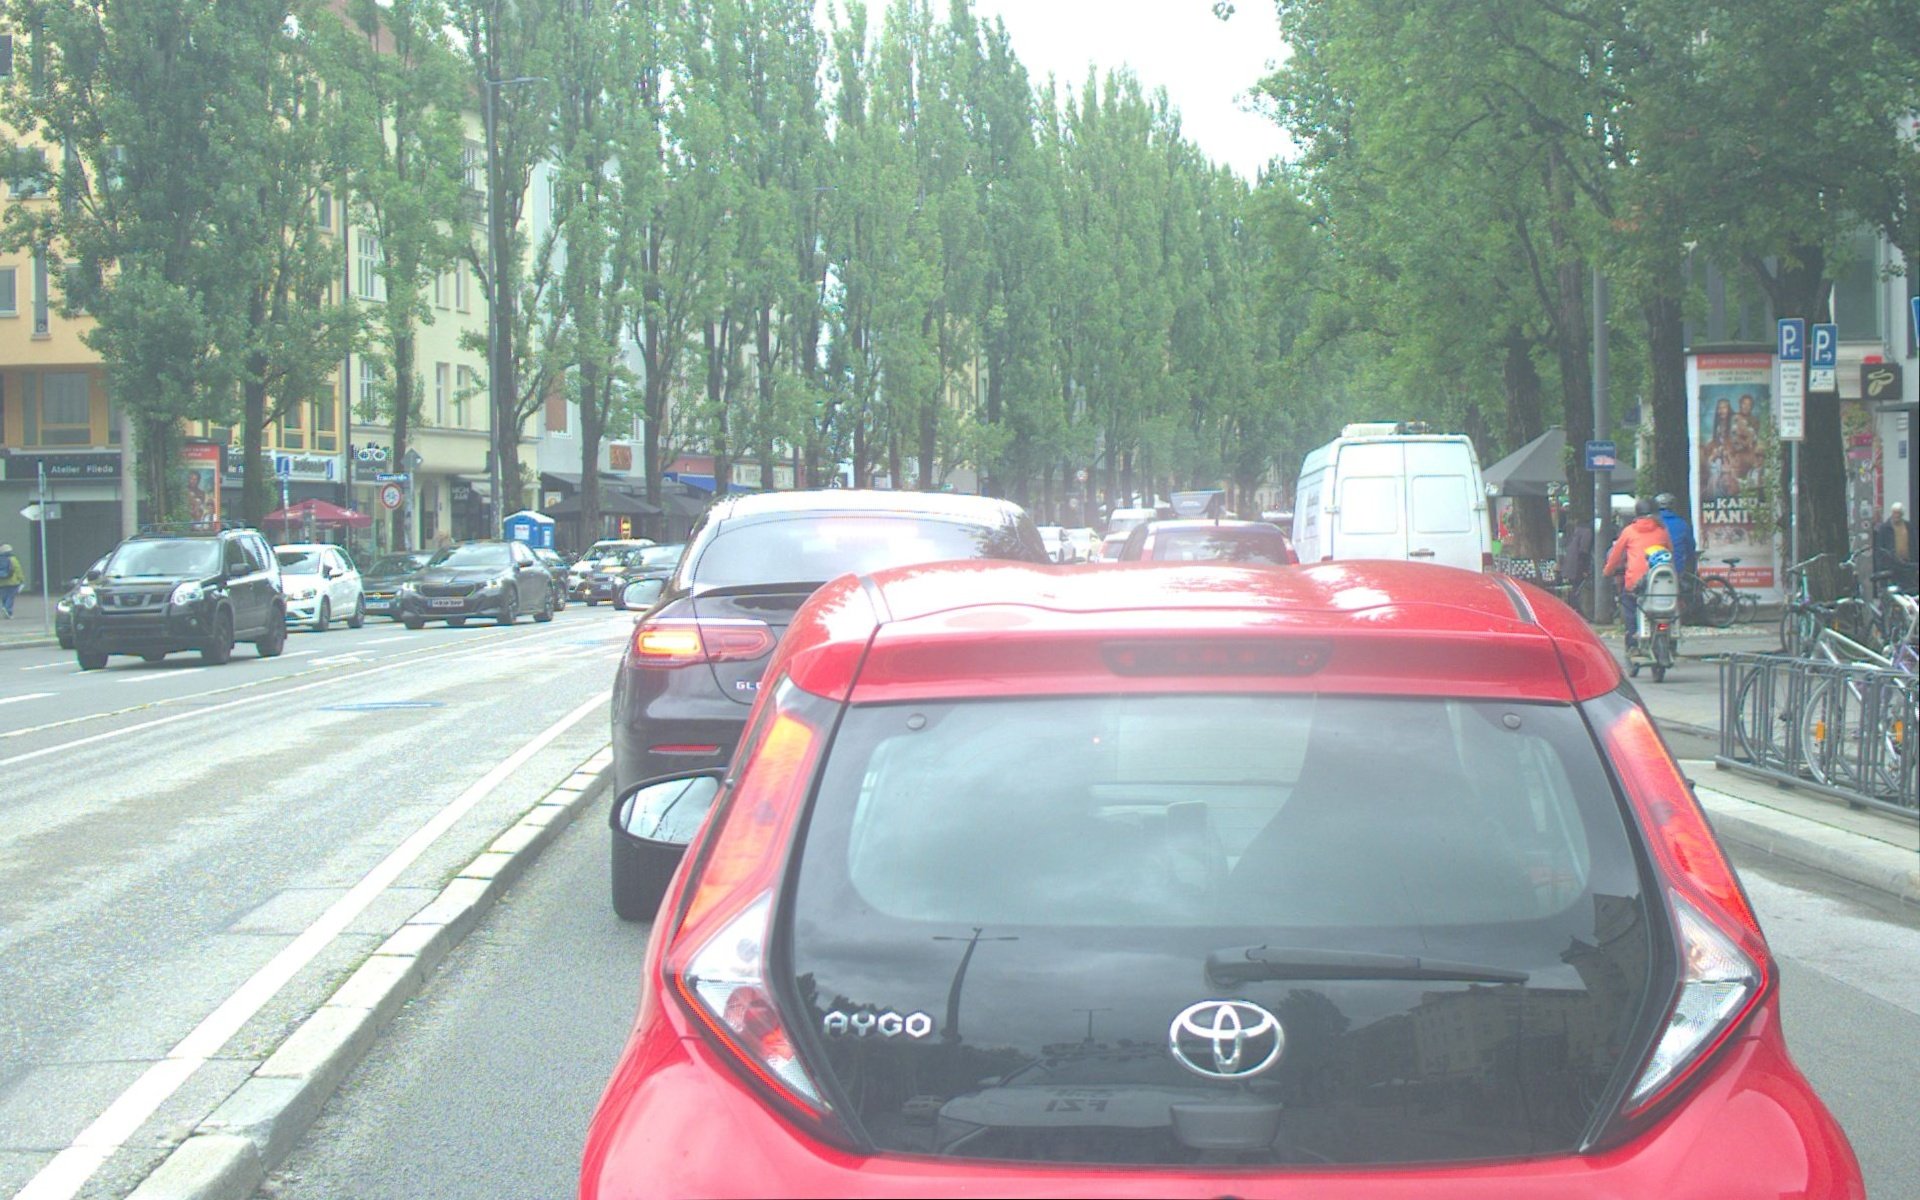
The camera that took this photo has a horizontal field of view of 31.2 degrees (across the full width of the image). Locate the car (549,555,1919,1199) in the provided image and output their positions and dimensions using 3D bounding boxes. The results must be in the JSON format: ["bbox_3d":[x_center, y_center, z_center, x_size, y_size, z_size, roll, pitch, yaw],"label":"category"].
[{"bbox_3d":[0.320,0.676,5.487,1.605,1.456,3.130,0,1,0],"label":"car"}]

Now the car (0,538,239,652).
[{"bbox_3d":[-12.883,-0.105,52.909,1.994,1.604,4.531,-1,1,9],"label":"car"}]

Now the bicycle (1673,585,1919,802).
[{"bbox_3d":[4.857,0.495,18.674,1.836,1.132,0.585,0,2,35],"label":"bicycle"}]

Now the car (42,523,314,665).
[{"bbox_3d":[-9.748,-0.120,43.282,1.994,1.686,4.921,0,1,4],"label":"car"}]

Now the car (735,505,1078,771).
[{"bbox_3d":[-0.244,0.198,21.299,1.919,1.481,3.917,0,0,2],"label":"car"}]

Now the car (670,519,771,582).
[{"bbox_3d":[-6.598,-1.394,95.301,1.994,1.686,4.920,-1,1,6],"label":"car"}]

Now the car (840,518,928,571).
[{"bbox_3d":[-2.511,-1.854,114.641,1.994,1.686,4.412,-1,1,11],"label":"car"}]

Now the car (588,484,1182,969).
[{"bbox_3d":[-0.322,0.390,13.784,1.993,1.612,4.001,2,1,-2],"label":"car"}]

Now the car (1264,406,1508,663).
[{"bbox_3d":[4.757,-0.750,39.054,2.107,2.709,4.804,-1,1,0],"label":"car"}]

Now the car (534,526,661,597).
[{"bbox_3d":[-8.983,-0.980,85.521,1.994,1.686,4.920,-1,1,8],"label":"car"}]

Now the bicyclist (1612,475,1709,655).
[{"bbox_3d":[7.385,-0.374,36.295,0.762,1.863,1.133,-1,1,-1],"label":"bicyclist"}]

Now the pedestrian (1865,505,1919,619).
[{"bbox_3d":[13.264,-0.539,48.557,0.764,1.588,0.676,-1,1,-1],"label":"pedestrian"}]

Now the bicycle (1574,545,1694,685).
[{"bbox_3d":[6.437,0.118,32.933,0.614,1.260,2.520,-1,1,-1],"label":"bicycle"}]

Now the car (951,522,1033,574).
[{"bbox_3d":[1.132,-1.800,117.819,1.994,1.686,4.412,-1,1,11],"label":"car"}]

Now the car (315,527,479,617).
[{"bbox_3d":[-11.144,-0.589,68.347,1.994,1.686,4.920,-1,1,6],"label":"car"}]

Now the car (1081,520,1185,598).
[{"bbox_3d":[3.277,-0.795,65.495,1.699,1.421,3.497,-1,1,-1],"label":"car"}]

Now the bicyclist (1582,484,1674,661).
[{"bbox_3d":[6.405,-0.276,33.002,0.614,1.652,1.251,-1,1,-1],"label":"bicyclist"}]

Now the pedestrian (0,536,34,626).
[{"bbox_3d":[-21.137,-0.436,76.794,0.687,1.990,0.765,-1,1,-1],"label":"pedestrian"}]

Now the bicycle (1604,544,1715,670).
[{"bbox_3d":[7.392,0.048,36.432,0.614,1.260,2.520,-1,1,-1],"label":"bicycle"}]

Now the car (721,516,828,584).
[{"bbox_3d":[-4.736,-1.311,88.343,1.994,1.686,4.920,-1,1,6],"label":"car"}]

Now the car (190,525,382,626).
[{"bbox_3d":[-11.910,-0.468,61.117,1.994,1.686,4.920,-1,1,6],"label":"car"}]

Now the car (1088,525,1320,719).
[{"bbox_3d":[2.100,0.147,30.425,1.702,1.584,3.556,-1,1,-1],"label":"car"}]

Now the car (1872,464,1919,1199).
[{"bbox_3d":[2.794,0.613,4.476,1.771,1.641,4.709,0,1,-2],"label":"car"}]

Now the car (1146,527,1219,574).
[{"bbox_3d":[7.009,-1.566,107.965,1.773,1.434,3.936,0,1,11],"label":"car"}]

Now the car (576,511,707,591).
[{"bbox_3d":[-7.029,-1.110,76.329,1.994,1.686,4.920,-1,1,6],"label":"car"}]

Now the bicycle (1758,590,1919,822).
[{"bbox_3d":[4.982,0.527,17.209,1.836,1.132,0.585,0,2,35],"label":"bicycle"}]

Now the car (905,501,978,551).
[{"bbox_3d":[-0.709,-2.938,135.682,1.994,1.927,4.412,0,1,11],"label":"car"}]

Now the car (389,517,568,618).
[{"bbox_3d":[-8.433,-0.604,60.645,1.994,1.686,4.920,-1,1,6],"label":"car"}]

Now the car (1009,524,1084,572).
[{"bbox_3d":[3.181,-1.903,125.438,1.994,1.686,4.412,-1,1,11],"label":"car"}]
